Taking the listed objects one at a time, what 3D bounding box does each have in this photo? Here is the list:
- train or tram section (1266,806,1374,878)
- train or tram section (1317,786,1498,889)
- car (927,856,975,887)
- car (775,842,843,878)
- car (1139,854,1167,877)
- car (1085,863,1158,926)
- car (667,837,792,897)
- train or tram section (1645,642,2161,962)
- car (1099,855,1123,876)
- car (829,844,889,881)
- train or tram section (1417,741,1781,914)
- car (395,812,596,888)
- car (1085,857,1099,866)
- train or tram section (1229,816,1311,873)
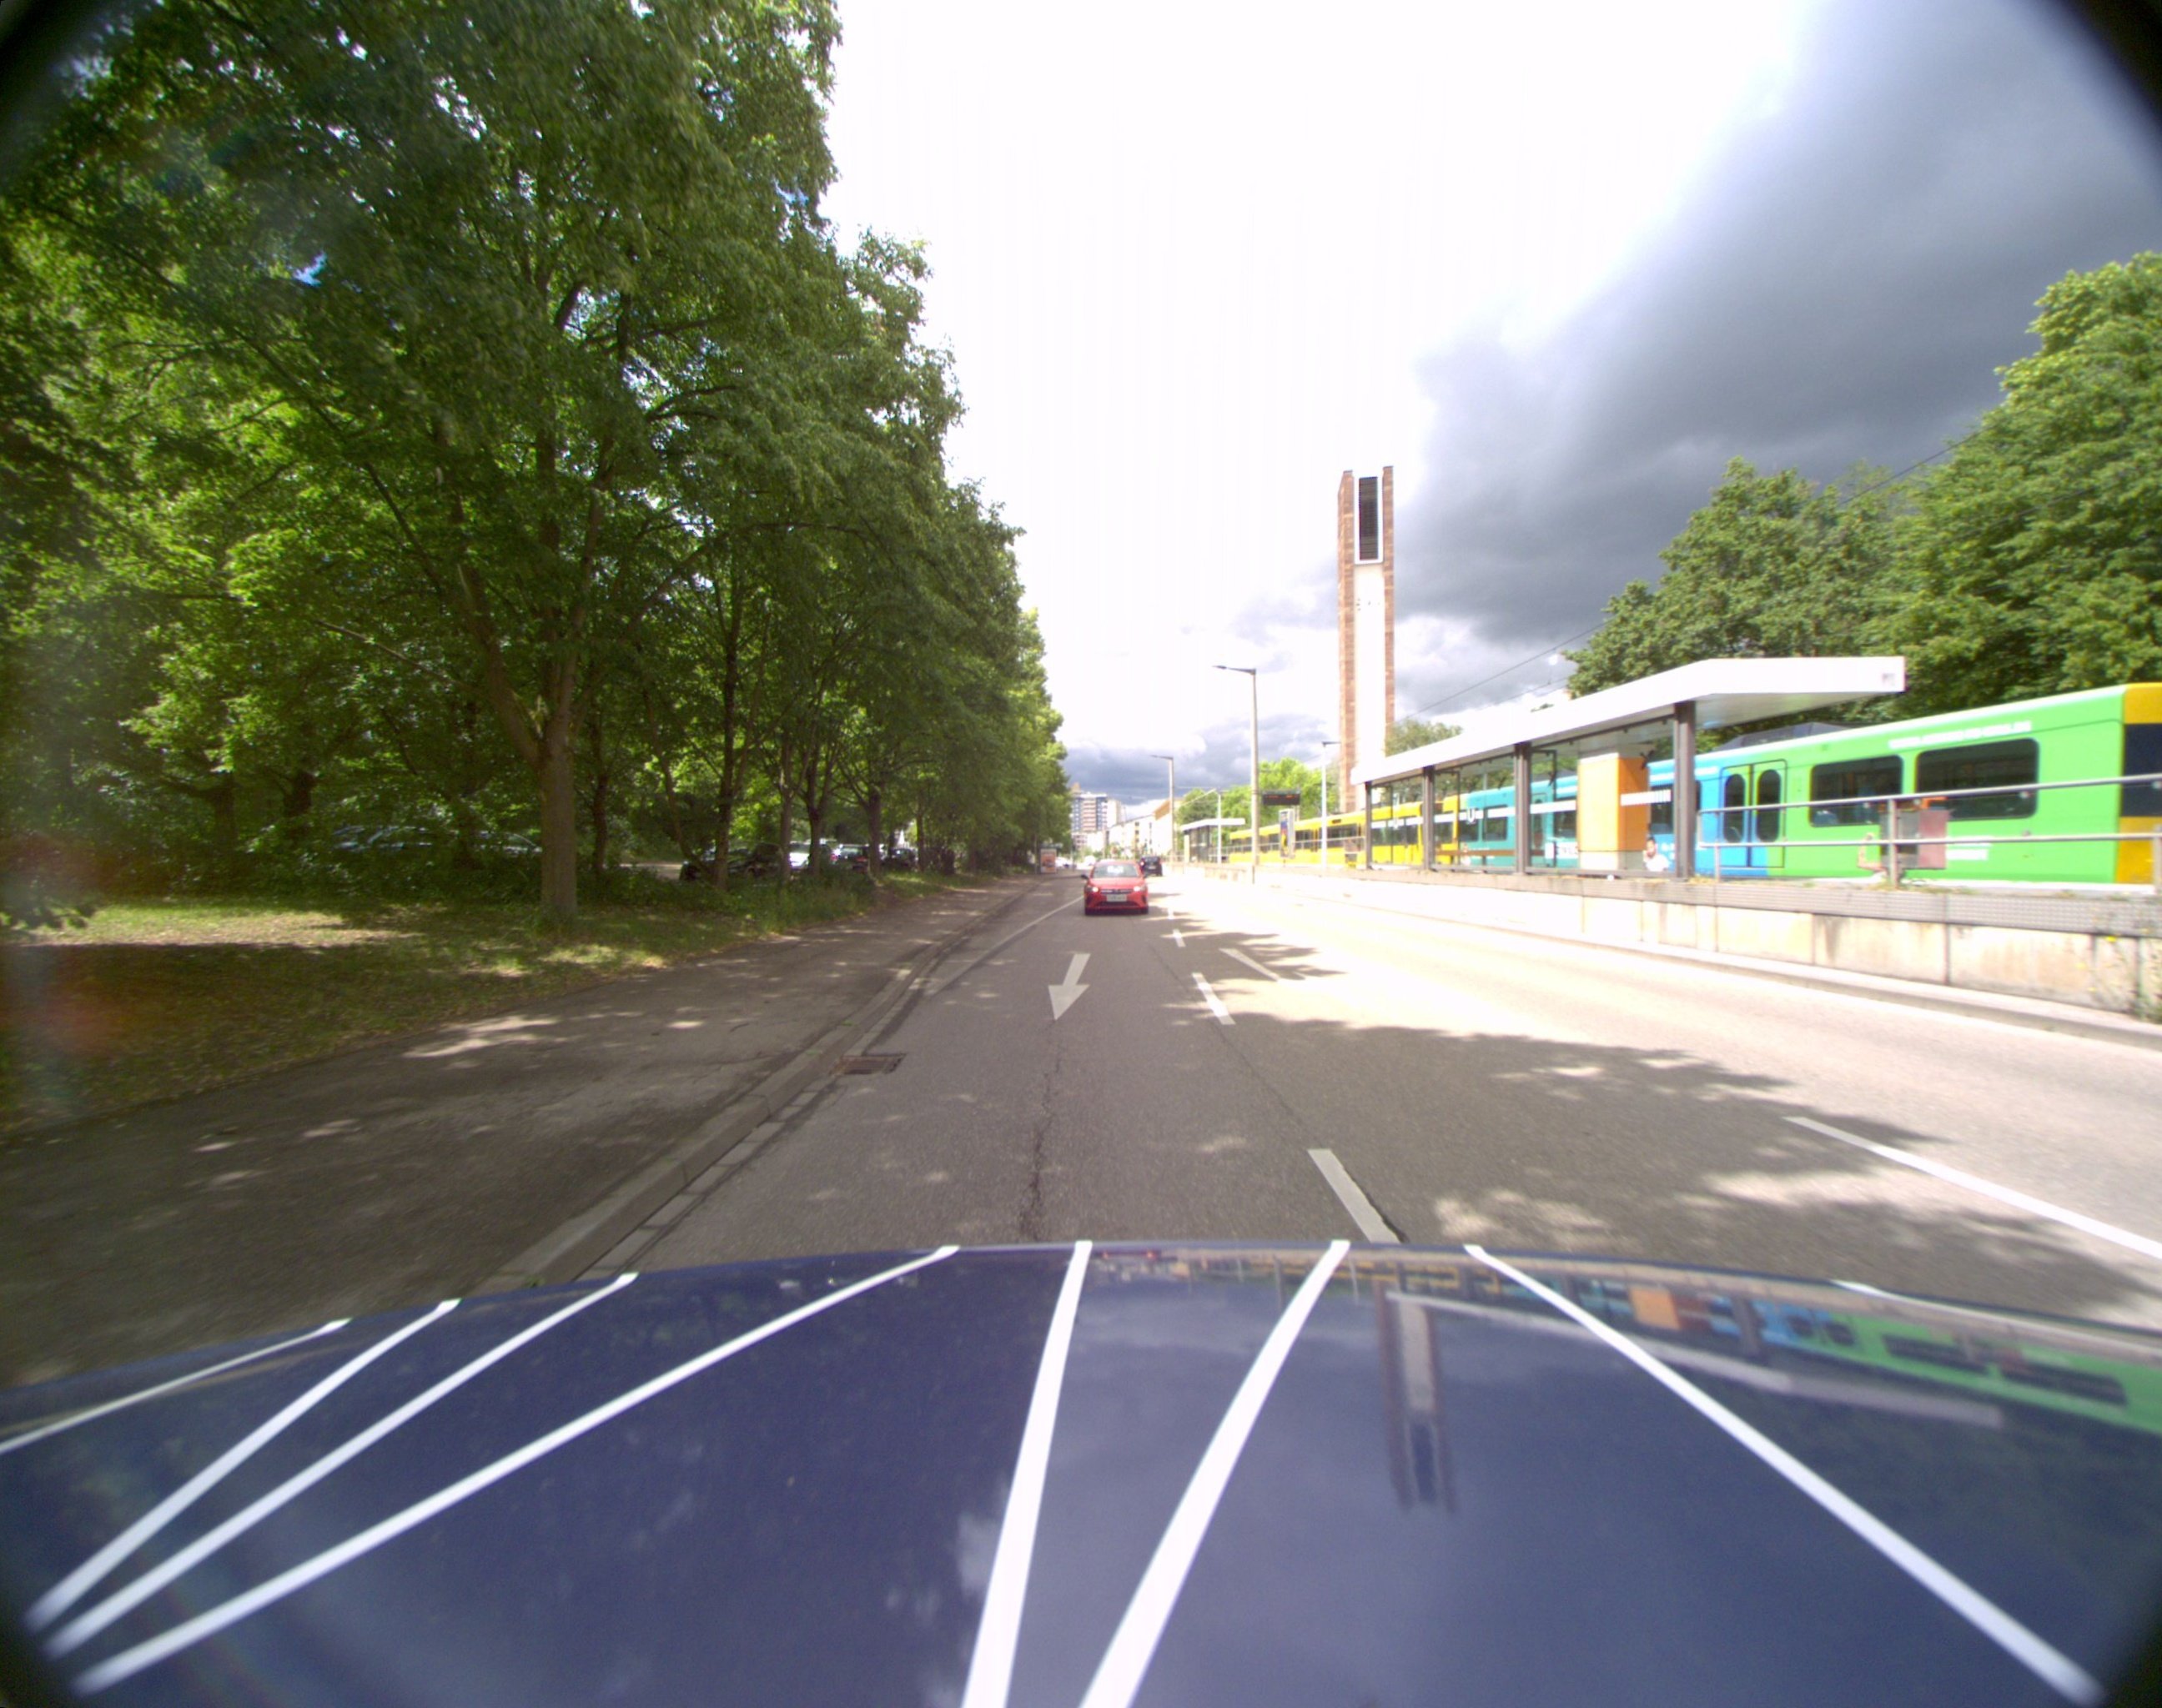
[{"bbox_3d":[14.399,-0.672,46.990,2.988,3.840,11.106,-2,0,0],"label":"train or tram section"},{"bbox_3d":[14.440,-0.646,35.280,2.988,3.840,12.199,-2,0,0],"label":"train or tram section"},{"bbox_3d":[-6.968,0.919,41.134,1.655,1.533,3.677,-1,0,5],"label":"car"},{"bbox_3d":[-12.285,0.241,34.570,1.656,1.533,3.676,1,0,2],"label":"car"},{"bbox_3d":[5.437,0.861,57.607,1.756,1.603,4.226,-1,0,2],"label":"car"},{"bbox_3d":[1.058,1.009,20.747,1.756,1.433,4.226,-1,0,2],"label":"car"},{"bbox_3d":[-9.899,0.337,21.716,1.756,1.533,3.676,-1,0,2],"label":"car"},{"bbox_3d":[14.472,-0.689,13.232,2.988,3.840,8.377,-2,0,0],"label":"train or tram section"},{"bbox_3d":[2.242,0.831,57.412,1.756,1.433,4.226,-1,0,2],"label":"car"},{"bbox_3d":[-9.969,0.354,34.421,1.757,1.533,4.224,-2,0,-4],"label":"car"},{"bbox_3d":[14.492,-0.621,23.310,2.988,3.840,11.785,-2,0,0],"label":"train or tram section"},{"bbox_3d":[-13.388,-0.092,17.686,1.656,1.533,3.627,-1,0,4],"label":"car"},{"bbox_3d":[2.026,1.379,141.737,1.822,1.433,4.005,-2,0,-10],"label":"car"},{"bbox_3d":[14.354,-0.699,59.161,2.988,3.840,13.149,-2,0,0],"label":"train or tram section"}]
